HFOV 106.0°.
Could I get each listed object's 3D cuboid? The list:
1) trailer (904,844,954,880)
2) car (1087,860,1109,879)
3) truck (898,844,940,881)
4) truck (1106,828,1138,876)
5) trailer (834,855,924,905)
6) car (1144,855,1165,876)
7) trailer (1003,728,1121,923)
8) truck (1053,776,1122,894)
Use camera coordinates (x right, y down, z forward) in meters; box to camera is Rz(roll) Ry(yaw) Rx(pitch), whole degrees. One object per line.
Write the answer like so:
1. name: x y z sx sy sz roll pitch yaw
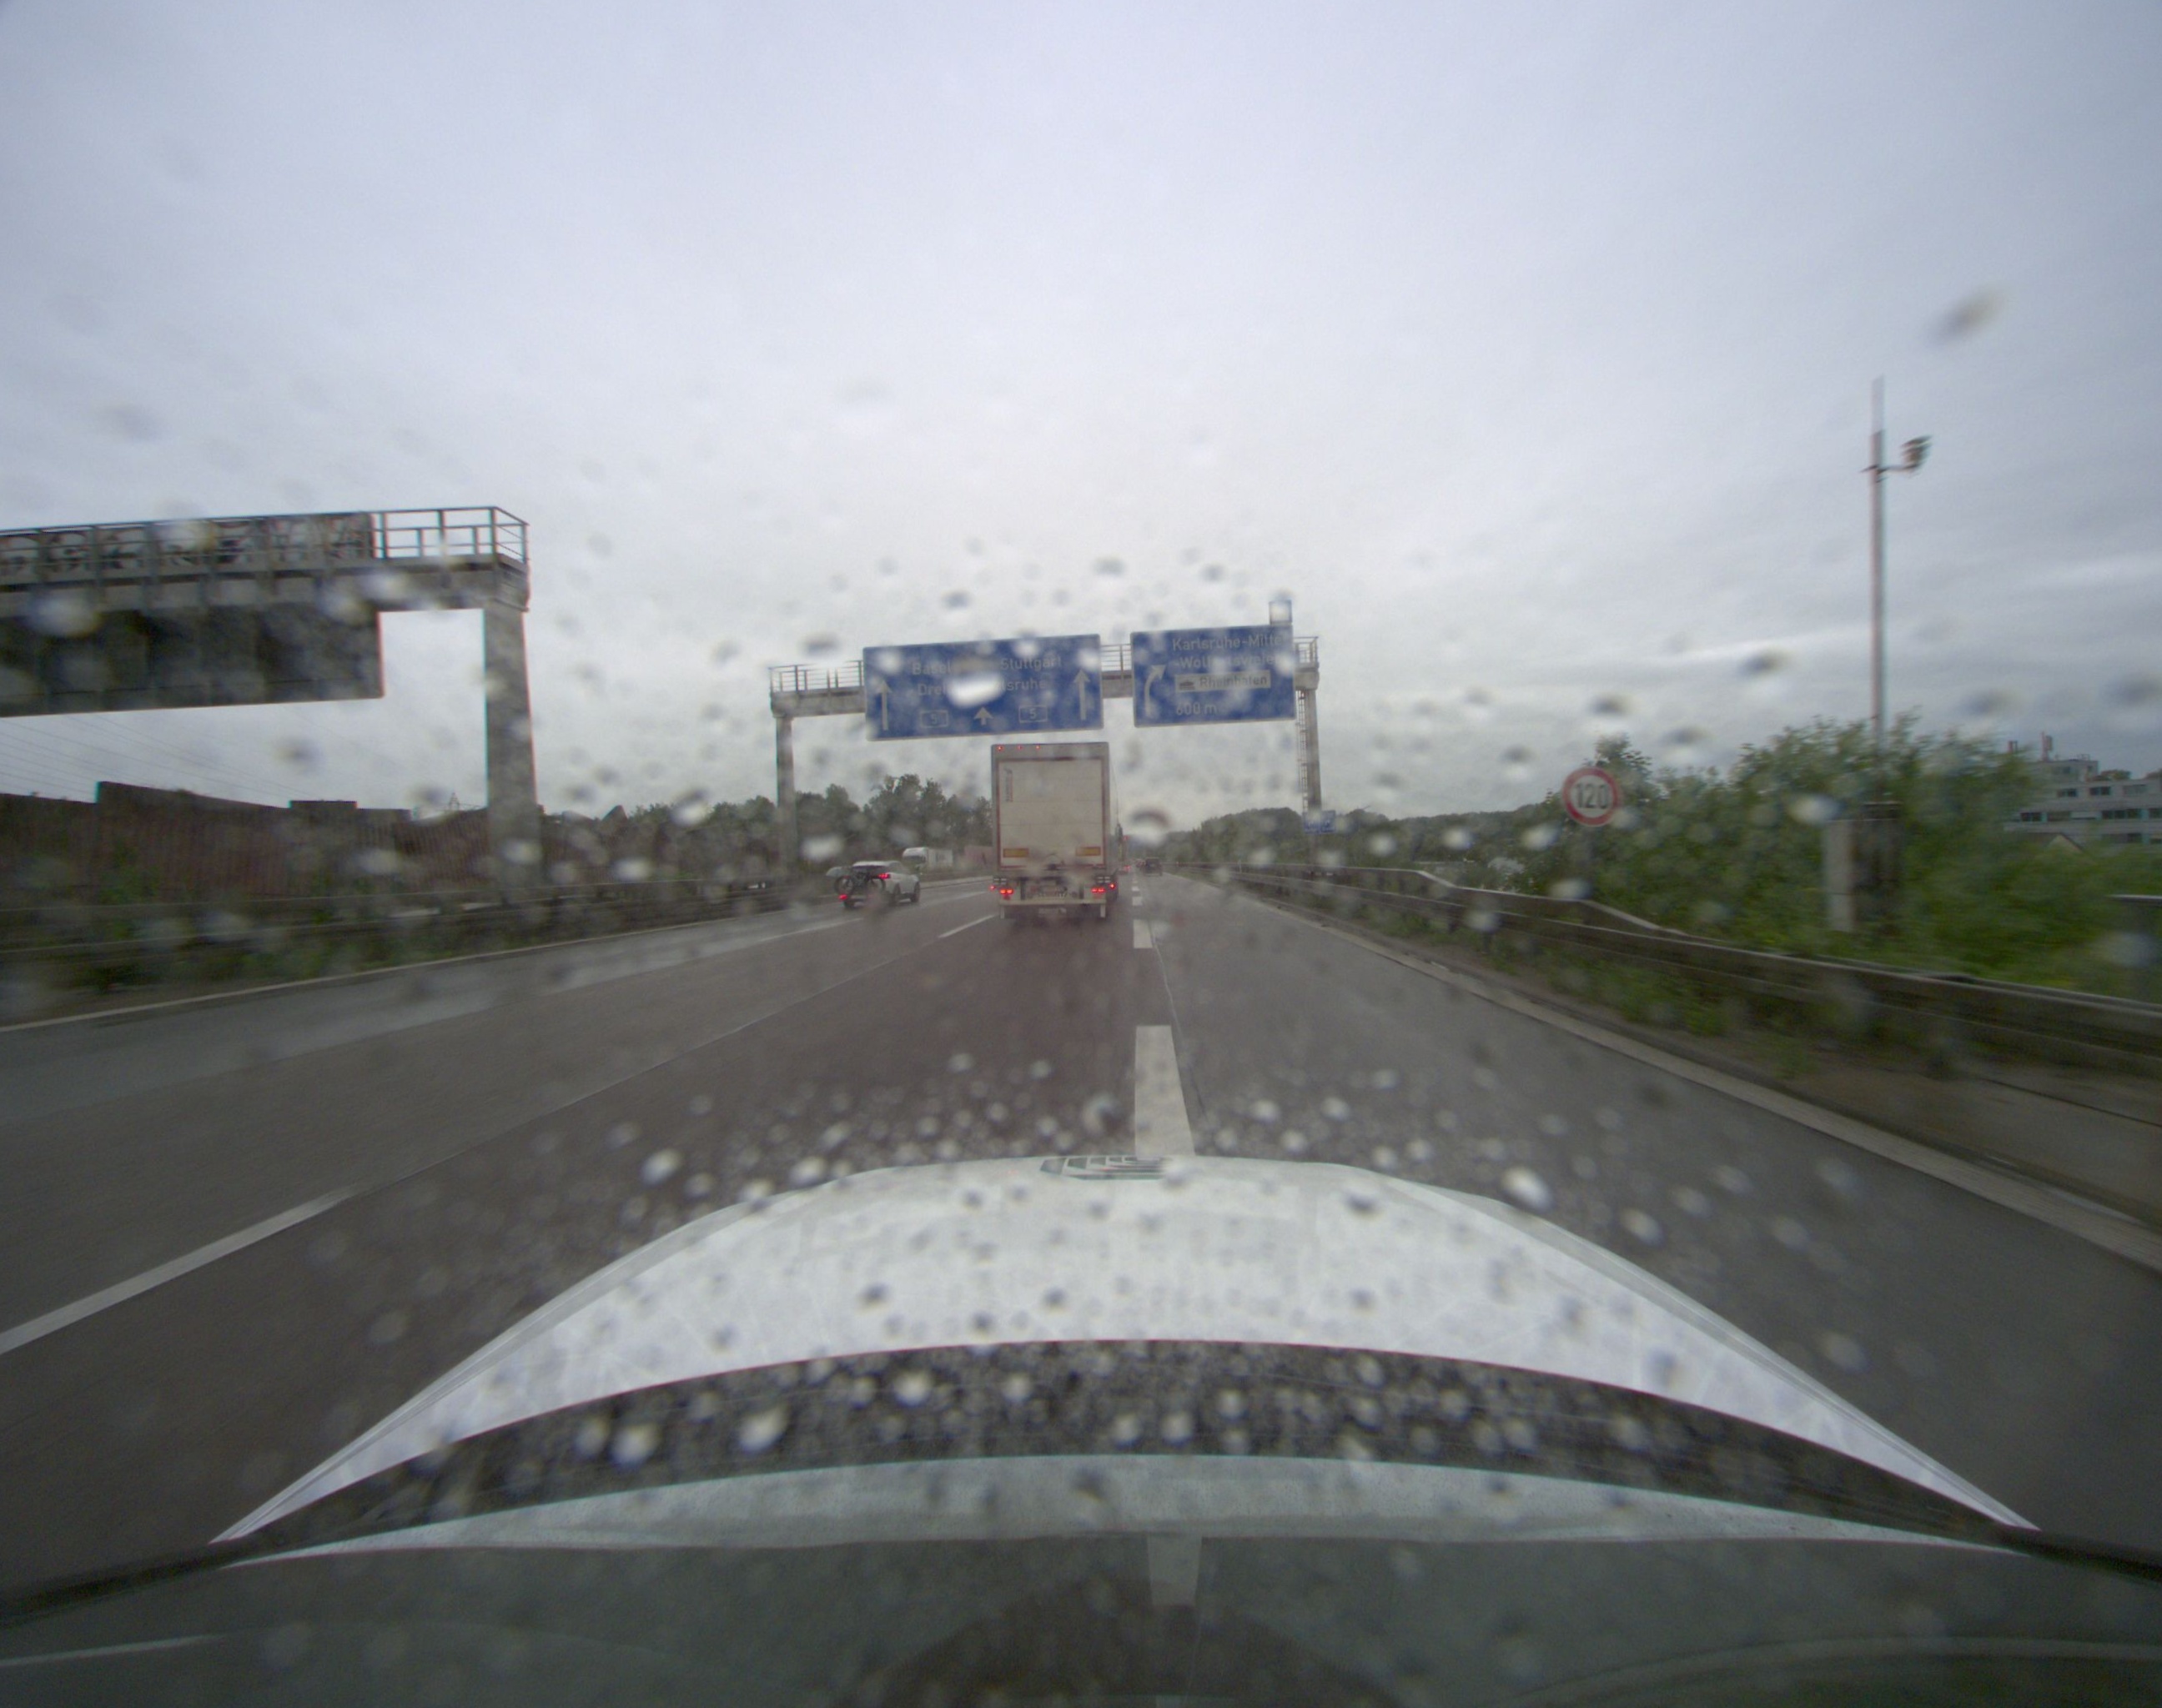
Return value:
1. trailer: -18.858 1.018 102.165 3.043 4.186 13.580 0 0 3
2. car: 1.596 1.398 76.354 1.886 1.723 4.003 0 0 3
3. truck: -19.154 0.980 96.906 3.044 4.186 7.893 0 -1 3
4. truck: 4.858 -0.188 94.712 3.519 5.183 9.901 0 0 3
5. trailer: -7.093 0.855 29.083 1.807 1.624 4.572 -1 0 3
6. car: 6.828 1.041 75.910 1.888 1.949 4.005 0 0 5
7. trailer: -0.050 -0.656 24.838 2.332 4.157 14.841 0 0 3
8. truck: 0.378 -0.701 31.974 2.332 4.157 6.352 0 0 3
